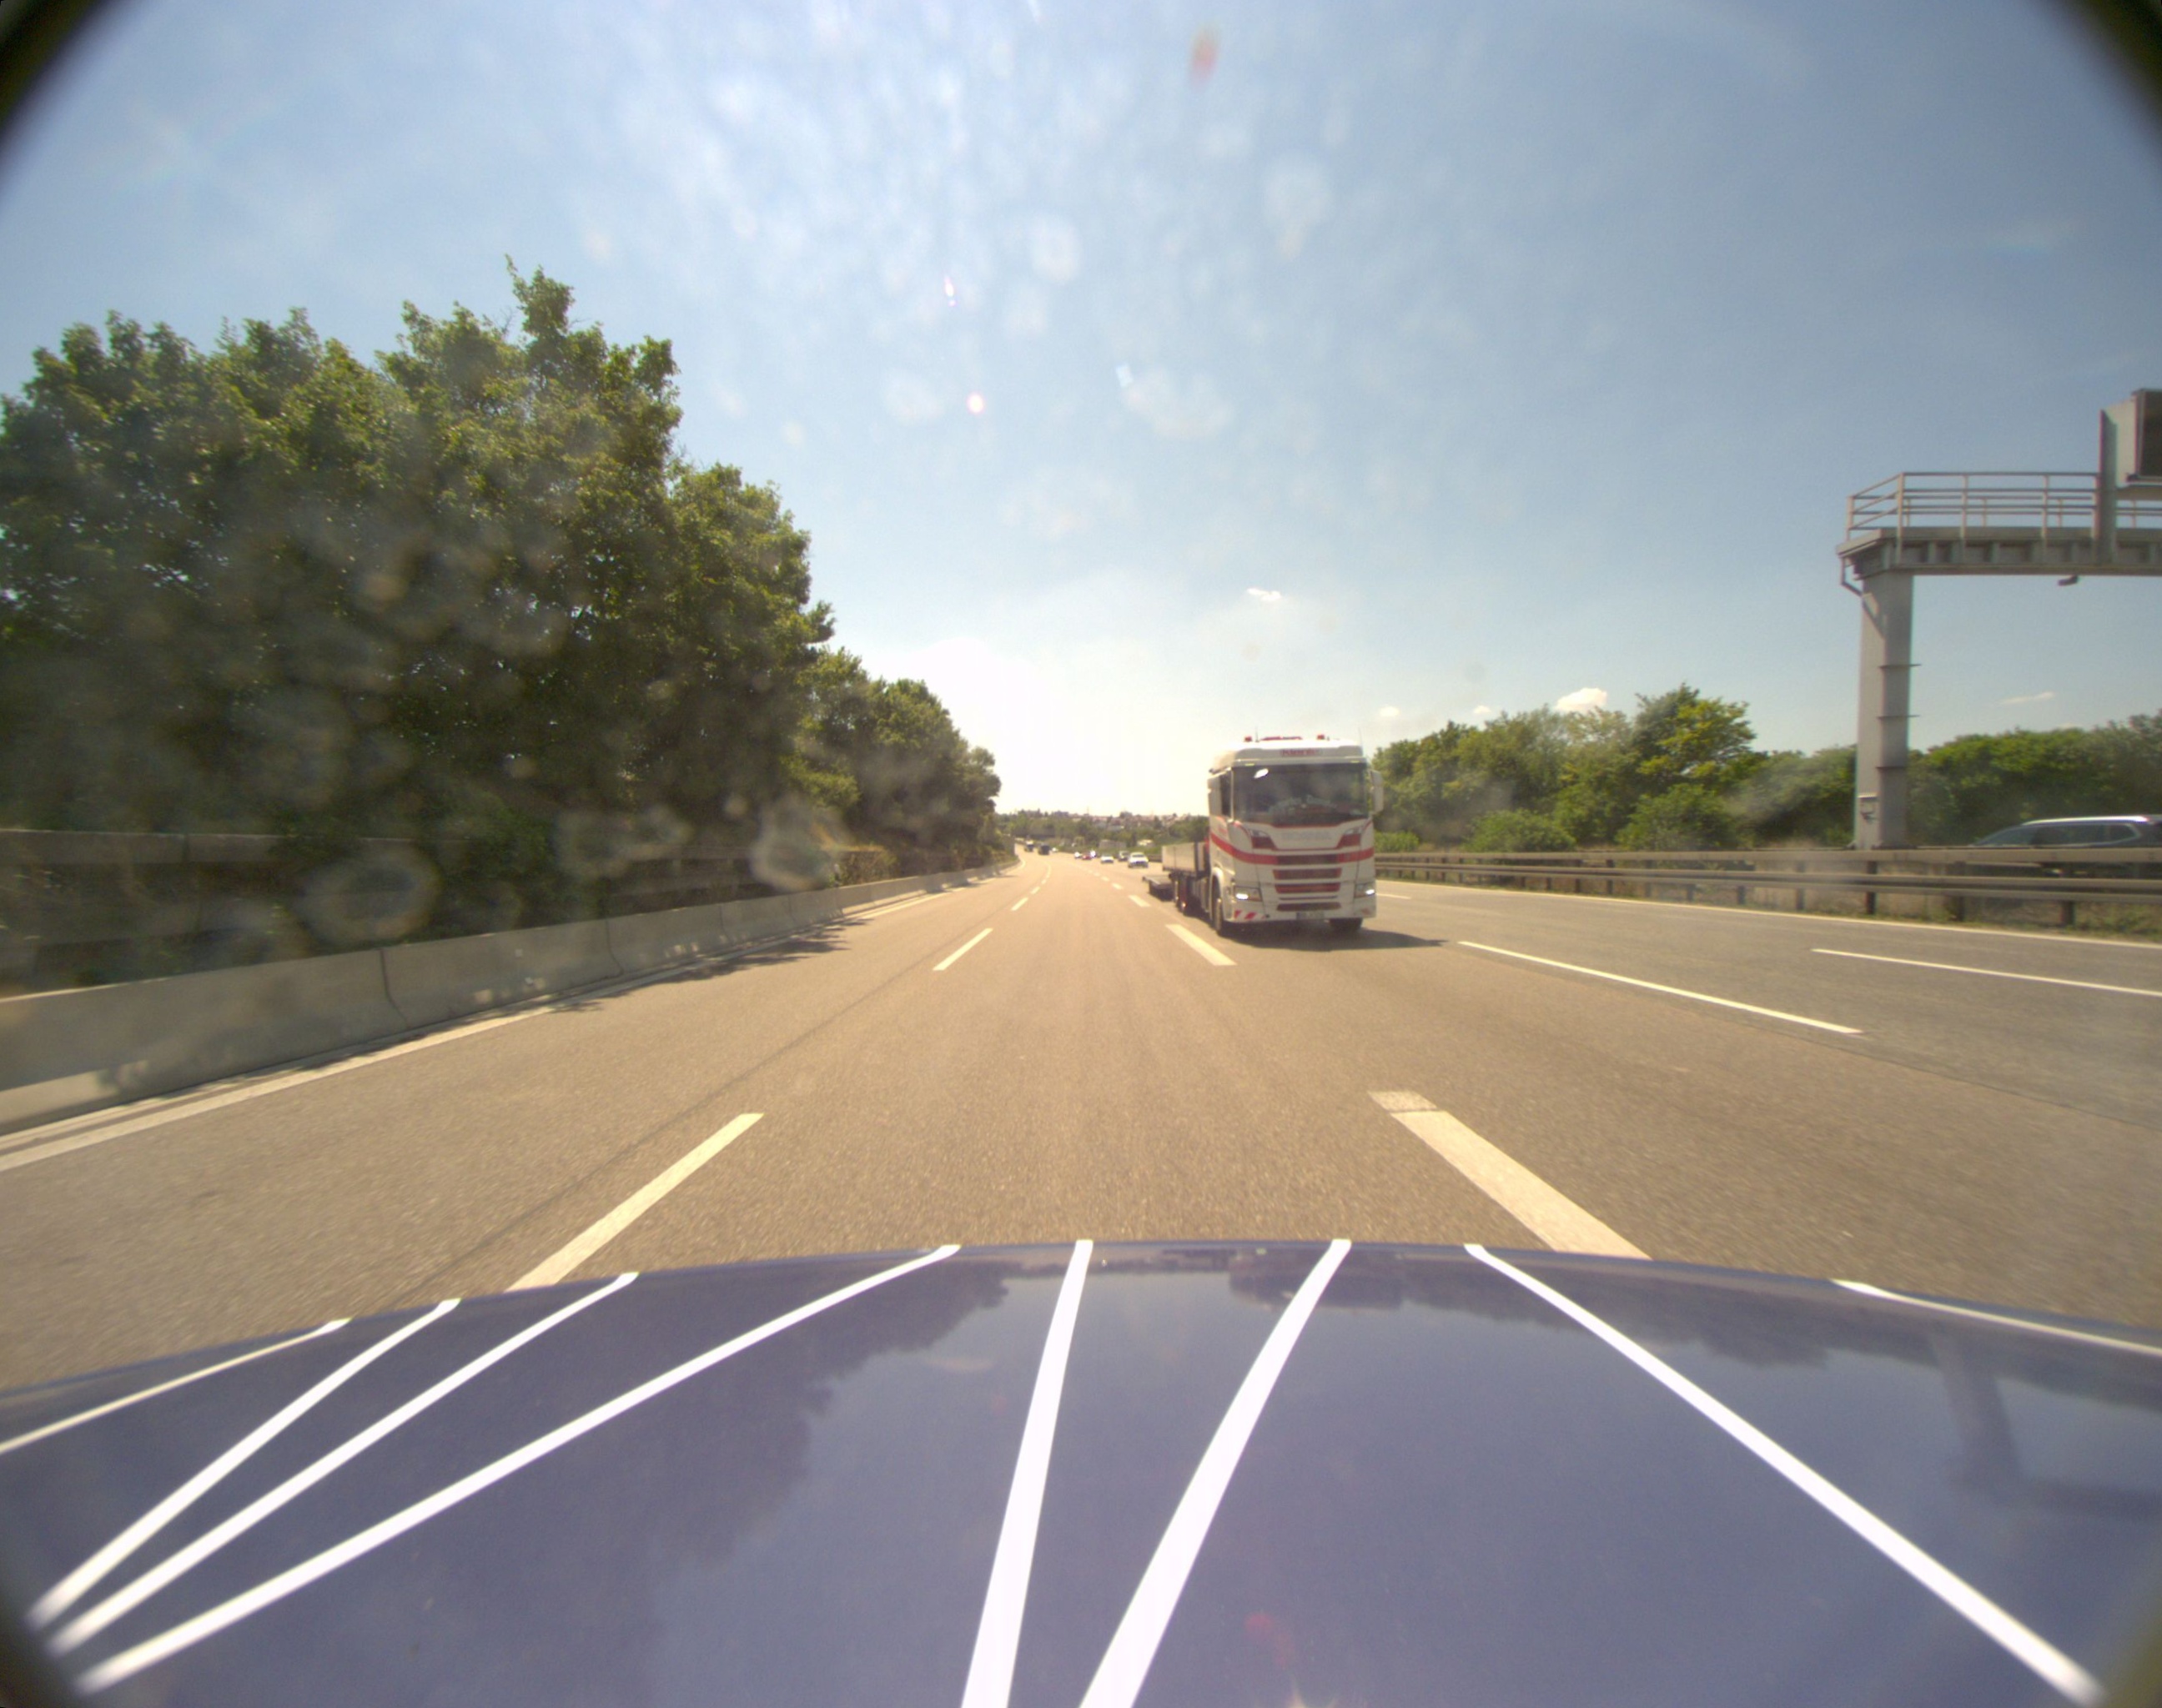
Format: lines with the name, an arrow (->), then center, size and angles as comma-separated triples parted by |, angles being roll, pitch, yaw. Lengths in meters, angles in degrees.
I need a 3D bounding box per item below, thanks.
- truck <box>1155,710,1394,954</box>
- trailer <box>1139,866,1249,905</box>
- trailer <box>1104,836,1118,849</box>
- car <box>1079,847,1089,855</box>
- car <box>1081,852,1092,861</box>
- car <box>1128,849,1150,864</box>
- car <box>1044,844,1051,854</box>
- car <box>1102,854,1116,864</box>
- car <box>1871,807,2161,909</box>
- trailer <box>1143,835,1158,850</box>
truck -> 3.589, -0.365, 17.359 | 2.721, 3.780, 10.671 | -2, 0, 0
trailer -> 3.674, 1.010, 26.559 | 2.721, 0.929, 7.759 | -2, 0, 0
trailer -> 10.405, -3.990, 263.859 | 3.401, 4.066, 13.920 | -2, 1, -3
car -> 0.609, -0.732, 181.147 | 1.999, 1.832, 3.997 | -2, 1, -5
car -> 1.100, 0.506, 158.196 | 1.999, 1.832, 3.997 | -2, 1, -5
car -> 6.039, 0.247, 80.123 | 1.883, 1.543, 3.999 | -2, 0, -1
car -> -10.933, -1.697, 249.796 | 2.115, 3.284, 6.443 | -2, 1, -1
car -> 4.352, 0.799, 118.161 | 1.787, 1.494, 4.169 | -1, 0, -4
car -> 19.378, 0.025, 15.211 | 2.121, 1.742, 4.828 | -2, 0, 1
trailer -> 18.184, -3.007, 199.189 | 2.697, 3.866, 9.731 | -2, 0, -2
